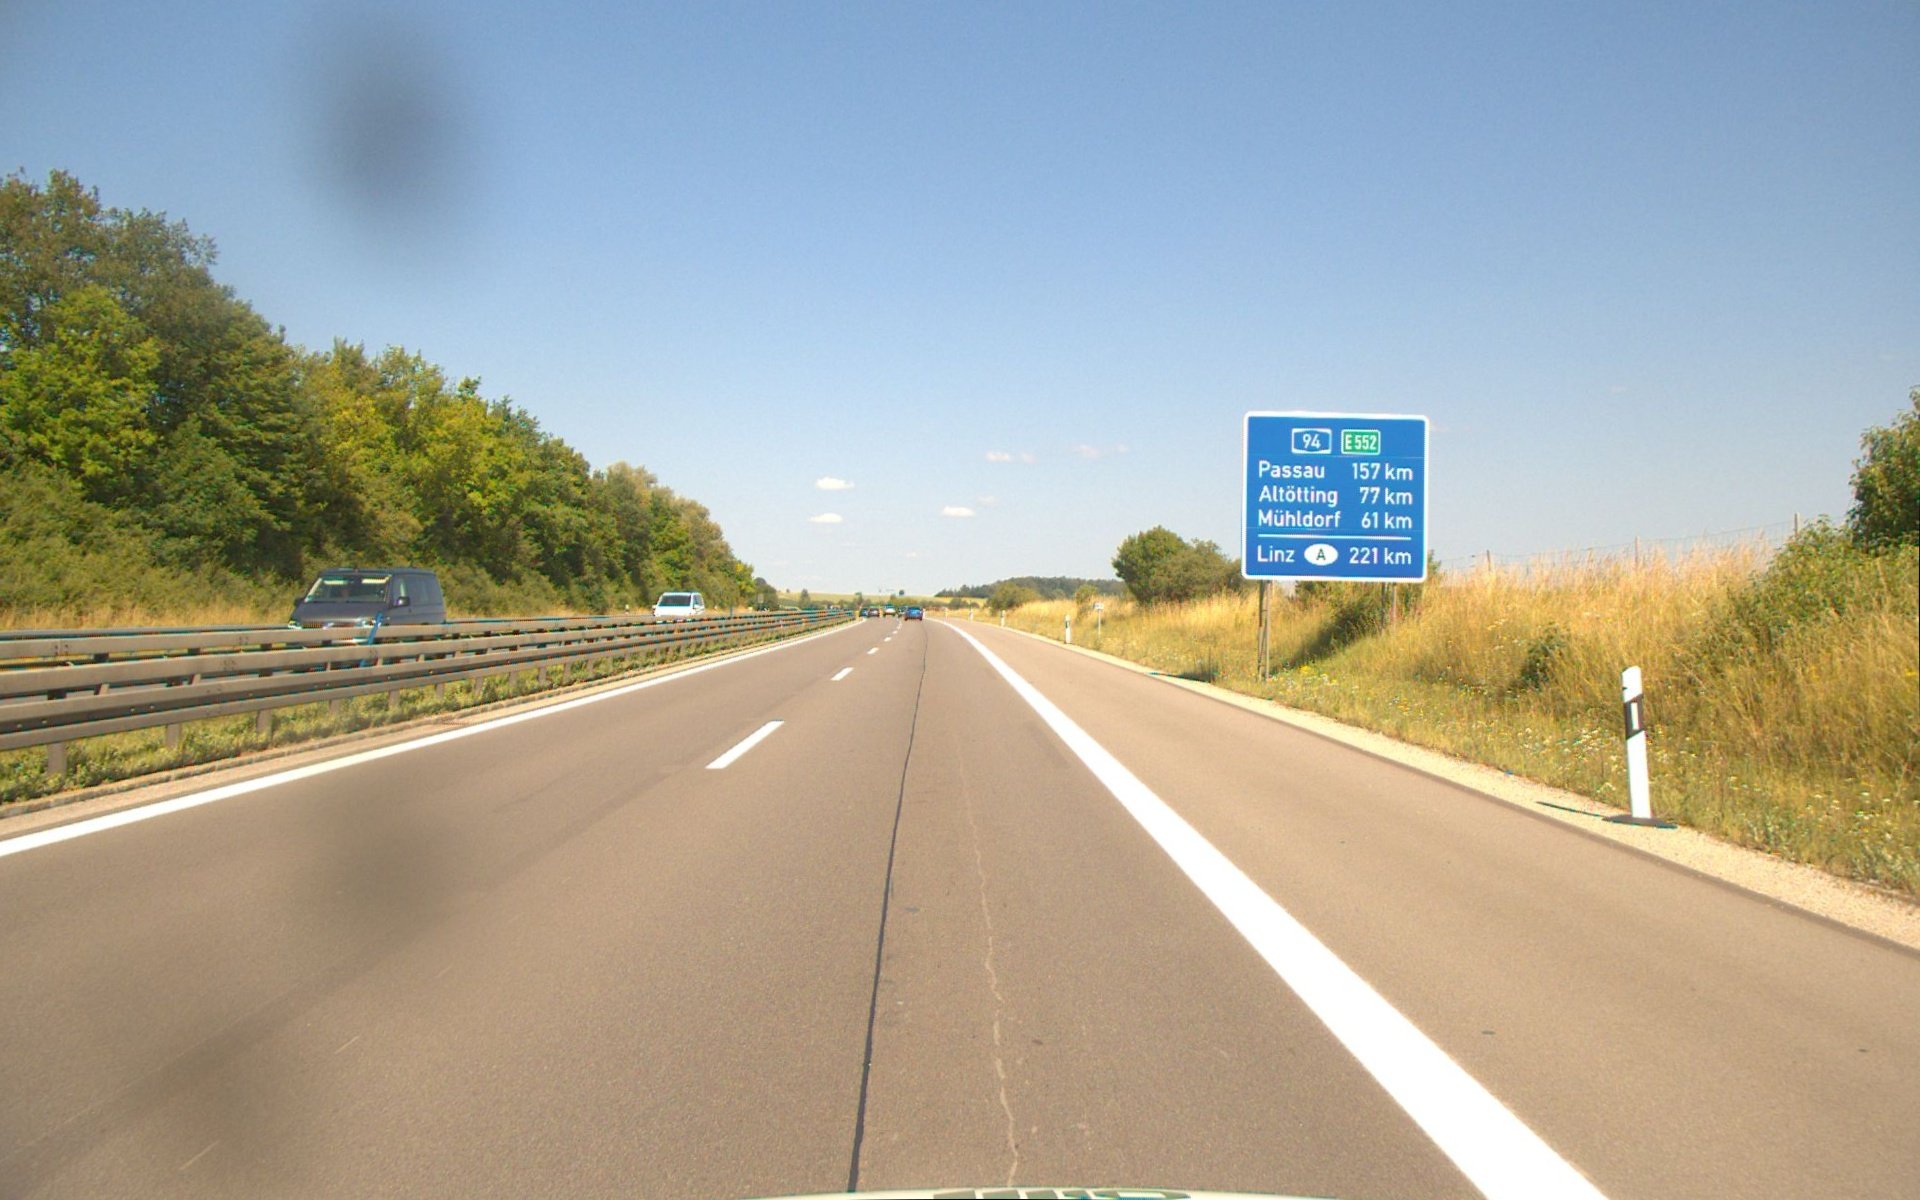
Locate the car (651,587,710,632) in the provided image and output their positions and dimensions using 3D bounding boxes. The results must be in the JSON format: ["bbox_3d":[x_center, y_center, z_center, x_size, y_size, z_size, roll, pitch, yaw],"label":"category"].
[{"bbox_3d":[-13.129,0.441,77.973,1.953,2.025,5.690,0,0,-1],"label":"car"}]

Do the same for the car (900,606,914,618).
[{"bbox_3d":[-7.043,1.585,218.880,1.792,1.479,3.591,0,-1,0],"label":"car"}]

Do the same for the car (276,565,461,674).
[{"bbox_3d":[-11.784,0.358,33.343,1.953,2.007,5.038,1,0,-1],"label":"car"}]

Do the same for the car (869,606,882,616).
[{"bbox_3d":[-12.299,1.610,240.467,1.792,1.479,3.591,0,-1,0],"label":"car"}]

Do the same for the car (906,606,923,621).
[{"bbox_3d":[-4.491,1.304,163.439,1.642,1.479,3.591,0,-1,0],"label":"car"}]
